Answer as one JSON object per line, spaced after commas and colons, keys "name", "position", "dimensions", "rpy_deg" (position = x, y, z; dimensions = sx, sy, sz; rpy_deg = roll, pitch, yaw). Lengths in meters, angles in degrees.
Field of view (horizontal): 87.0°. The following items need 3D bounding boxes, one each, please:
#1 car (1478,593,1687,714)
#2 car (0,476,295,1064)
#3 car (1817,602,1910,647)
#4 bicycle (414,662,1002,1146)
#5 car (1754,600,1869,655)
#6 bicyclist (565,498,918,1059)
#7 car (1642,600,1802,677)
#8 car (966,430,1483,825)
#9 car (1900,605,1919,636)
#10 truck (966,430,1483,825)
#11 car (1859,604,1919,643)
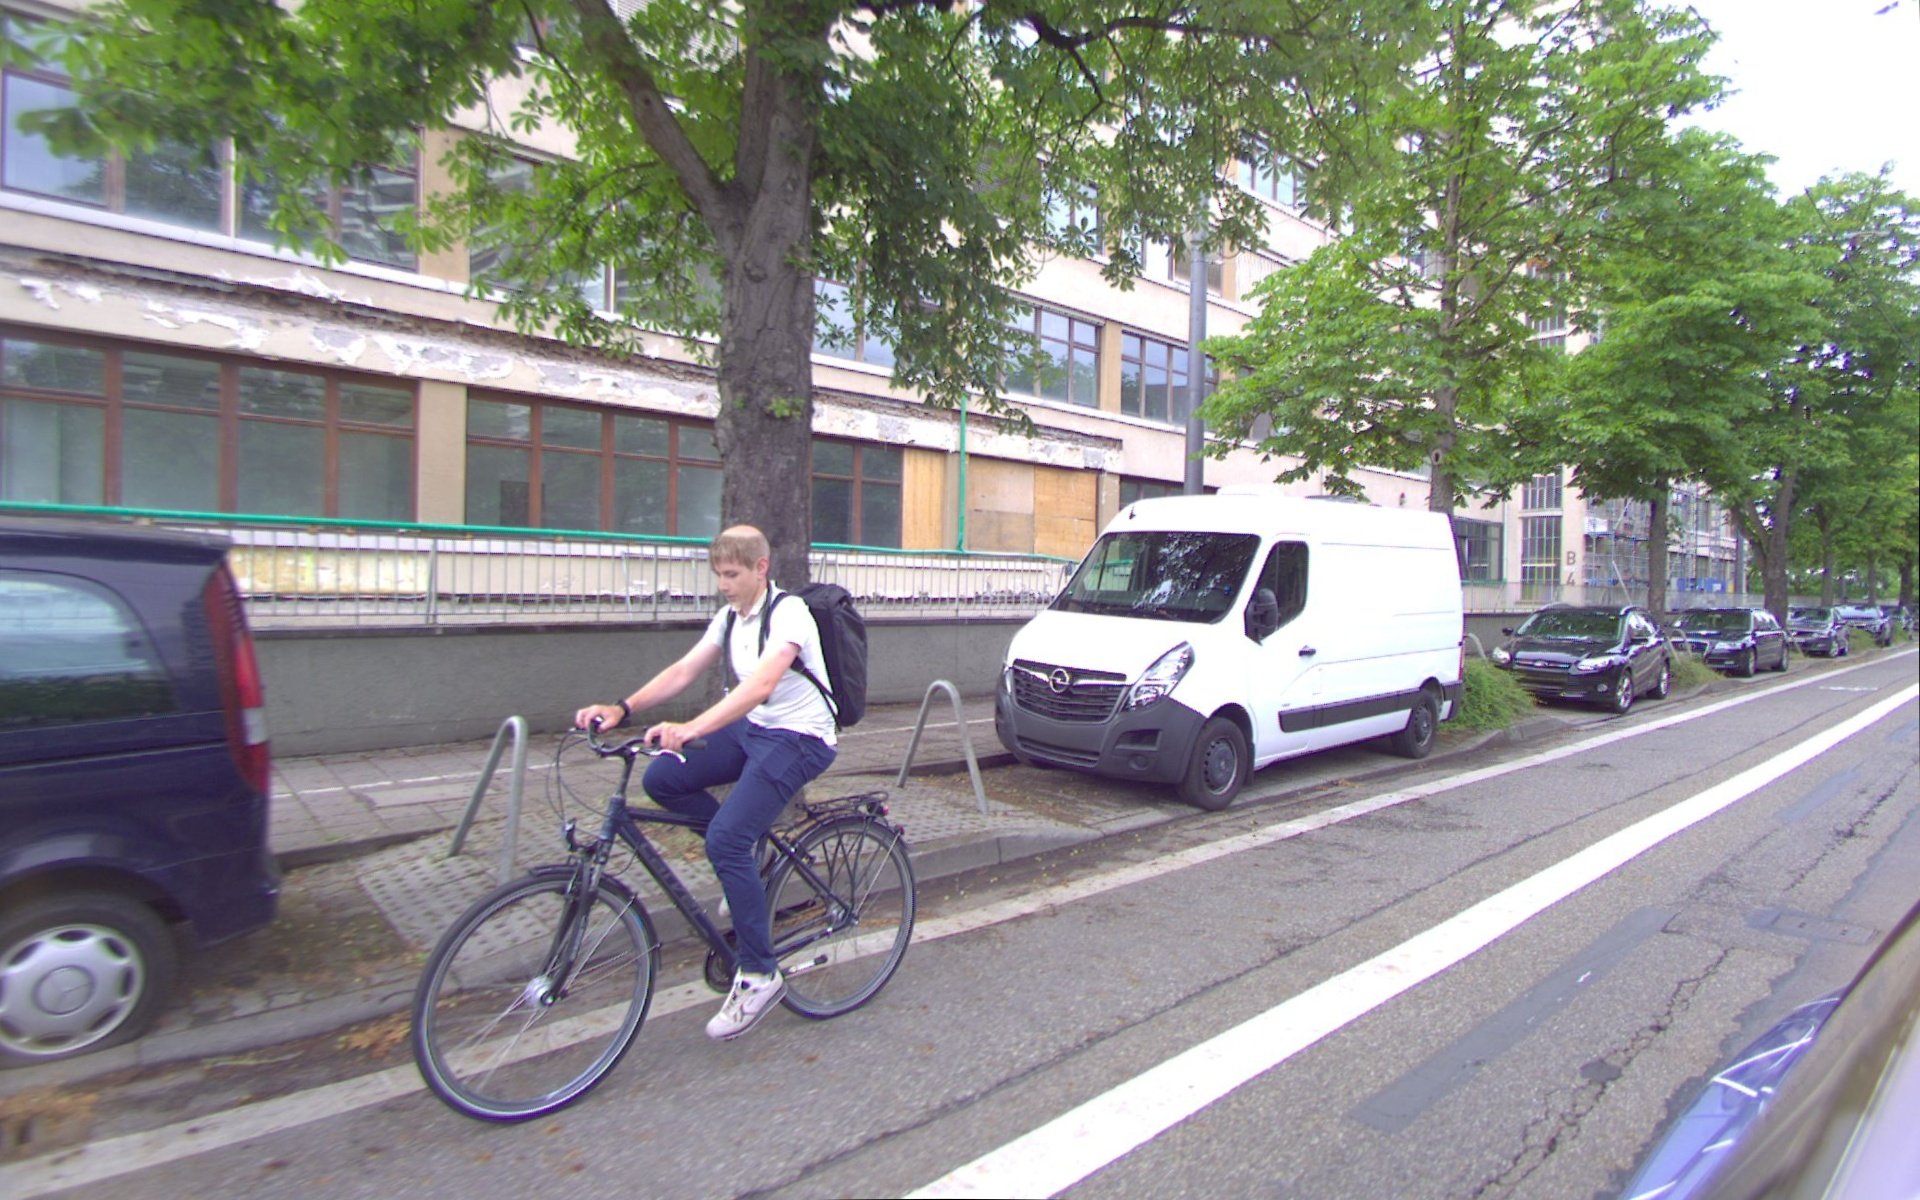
{"name": "car", "position": [9.655, 0.702, 15.567], "dimensions": [1.822, 1.518, 4.040], "rpy_deg": [4, 3, 45]}
{"name": "car", "position": [-4.452, 0.535, 2.959], "dimensions": [4.014, 1.835, 1.656], "rpy_deg": [-1, 1, -42]}
{"name": "car", "position": [31.853, 0.809, 35.630], "dimensions": [4.317, 1.479, 1.996], "rpy_deg": [0, 0, -42]}
{"name": "bicycle", "position": [-0.747, 0.820, 3.422], "dimensions": [1.834, 1.131, 0.665], "rpy_deg": [1, -1, -41]}
{"name": "car", "position": [24.913, 0.756, 29.562], "dimensions": [4.317, 1.479, 1.996], "rpy_deg": [0, 0, -42]}
{"name": "bicyclist", "position": [-0.729, 0.504, 3.444], "dimensions": [0.969, 1.589, 0.663], "rpy_deg": [1, 0, -42]}
{"name": "car", "position": [16.555, 0.754, 21.915], "dimensions": [4.317, 1.479, 1.996], "rpy_deg": [0, 0, -42]}
{"name": "car", "position": [2.731, 0.182, 9.386], "dimensions": [5.399, 2.635, 2.115], "rpy_deg": [0, 0, -43]}
{"name": "car", "position": [48.625, 1.015, 50.627], "dimensions": [4.317, 1.479, 1.996], "rpy_deg": [0, 0, -42]}
{"name": "truck", "position": [2.731, 0.182, 9.386], "dimensions": [5.399, 2.635, 2.115], "rpy_deg": [0, 0, -43]}
{"name": "car", "position": [37.870, 0.898, 40.761], "dimensions": [4.317, 1.479, 1.996], "rpy_deg": [0, 0, -42]}
